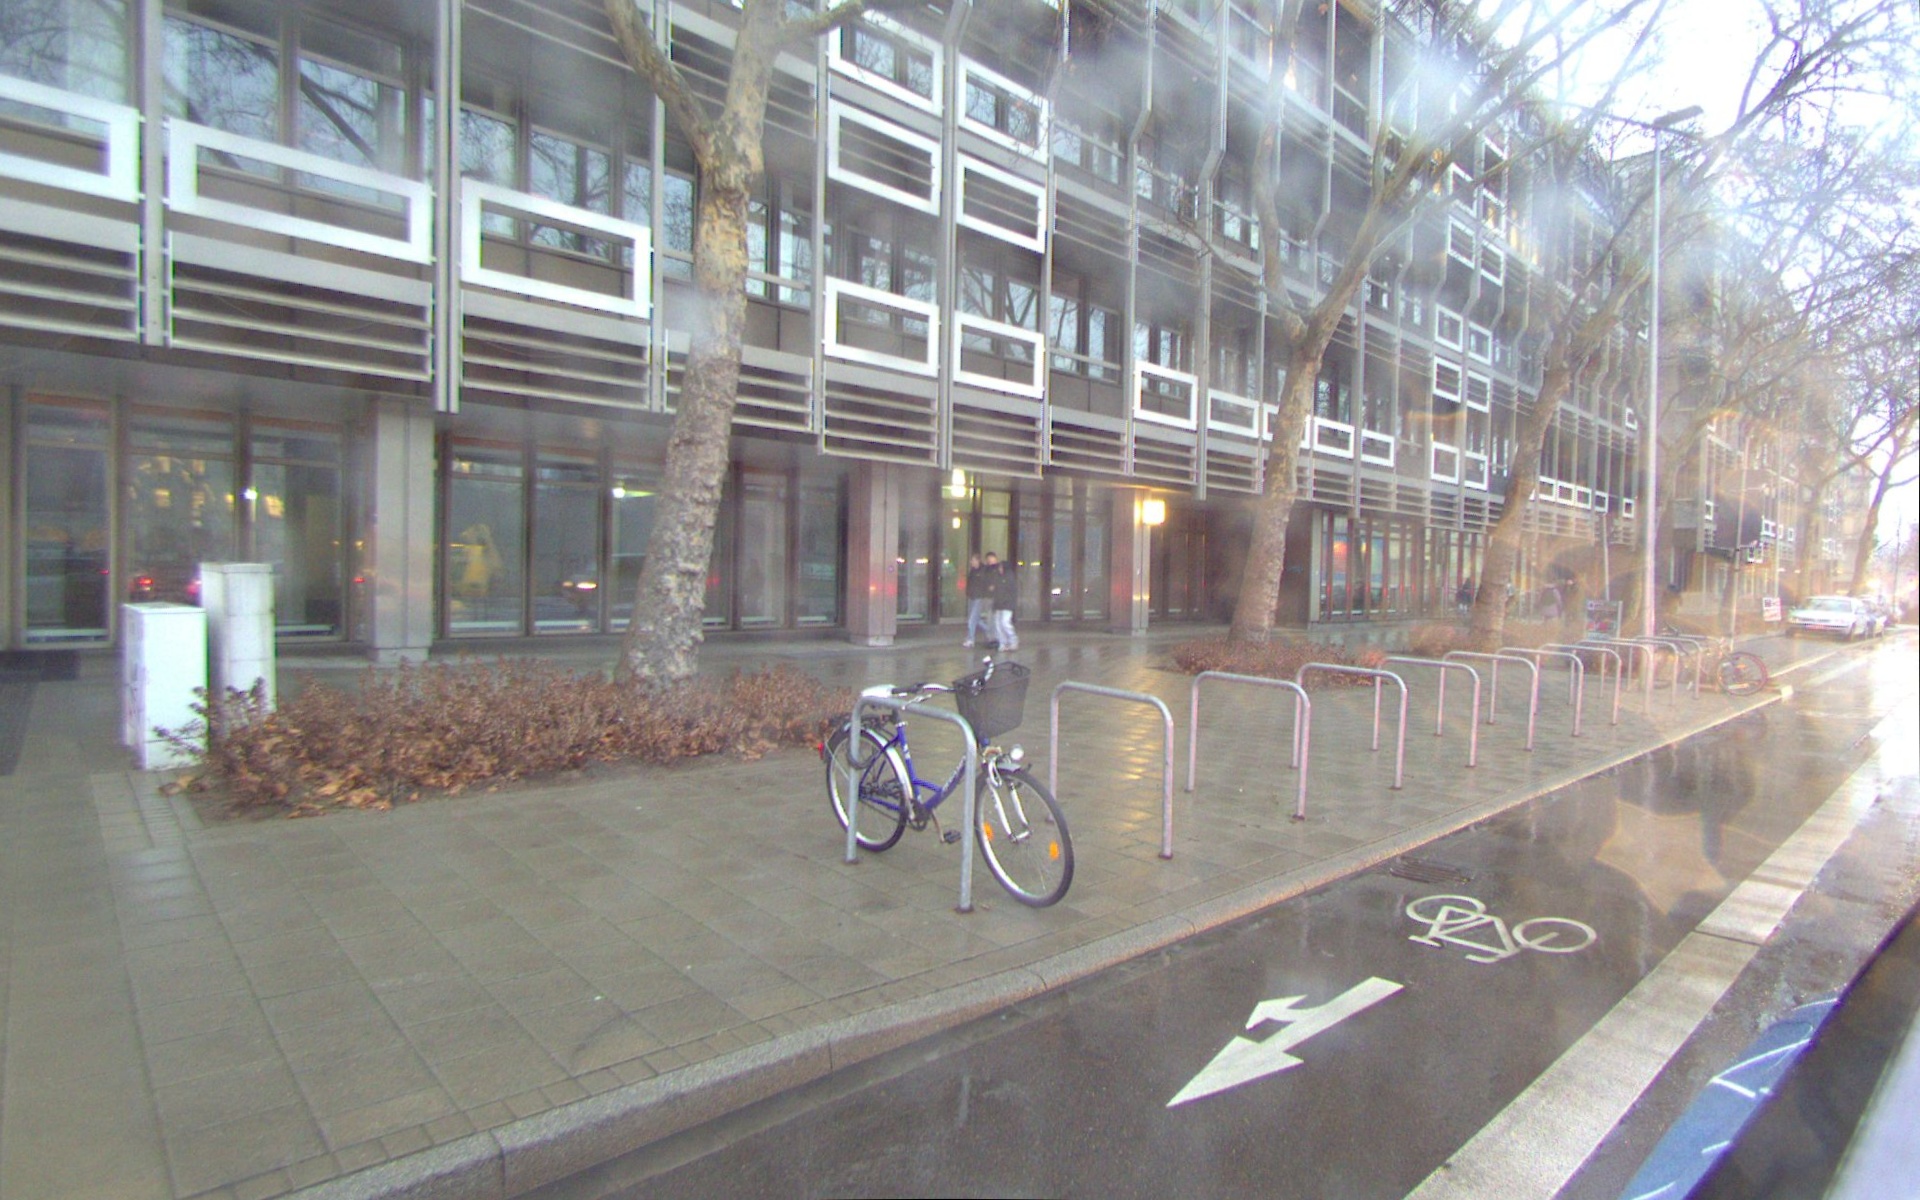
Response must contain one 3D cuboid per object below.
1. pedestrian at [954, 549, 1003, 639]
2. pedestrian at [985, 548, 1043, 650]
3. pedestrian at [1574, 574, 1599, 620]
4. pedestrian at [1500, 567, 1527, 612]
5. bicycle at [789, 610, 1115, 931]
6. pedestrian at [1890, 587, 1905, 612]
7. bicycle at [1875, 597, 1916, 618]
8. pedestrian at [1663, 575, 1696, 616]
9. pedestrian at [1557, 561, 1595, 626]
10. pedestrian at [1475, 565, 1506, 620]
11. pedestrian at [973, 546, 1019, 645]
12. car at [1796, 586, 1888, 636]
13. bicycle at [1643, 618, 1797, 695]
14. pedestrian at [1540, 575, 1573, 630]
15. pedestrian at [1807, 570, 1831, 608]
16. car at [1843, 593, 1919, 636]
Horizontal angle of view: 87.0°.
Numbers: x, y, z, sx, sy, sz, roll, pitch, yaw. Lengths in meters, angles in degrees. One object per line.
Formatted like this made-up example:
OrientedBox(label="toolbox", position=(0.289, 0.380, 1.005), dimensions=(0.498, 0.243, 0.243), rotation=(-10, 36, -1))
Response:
OrientedBox(label="pedestrian", position=(0.334, -0.113, 18.111), dimensions=(0.733, 1.583, 0.484), rotation=(0, 1, -42))
OrientedBox(label="pedestrian", position=(0.917, -0.028, 17.261), dimensions=(0.858, 1.689, 0.501), rotation=(0, 2, -41))
OrientedBox(label="pedestrian", position=(23.258, -0.123, 37.553), dimensions=(0.639, 1.675, 0.830), rotation=(2, 1, 41))
OrientedBox(label="pedestrian", position=(17.012, -0.321, 31.120), dimensions=(0.492, 1.386, 0.495), rotation=(1, 1, -18))
OrientedBox(label="bicycle", position=(-0.117, 0.695, 4.832), dimensions=(0.428, 1.162, 1.752), rotation=(0, 4, -44))
OrientedBox(label="pedestrian", position=(75.446, -0.049, 81.418), dimensions=(0.758, 2.039, 0.837), rotation=(-1, 0, -42))
OrientedBox(label="bicycle", position=(47.004, 0.355, 50.861), dimensions=(1.518, 1.049, 0.462), rotation=(0, 1, 42))
OrientedBox(label="pedestrian", position=(27.376, -0.176, 38.494), dimensions=(0.824, 1.543, 0.865), rotation=(0, 2, -44))
OrientedBox(label="pedestrian", position=(19.609, -0.226, 32.219), dimensions=(0.723, 2.039, 0.821), rotation=(0, 1, -43))
OrientedBox(label="pedestrian", position=(16.650, -0.246, 31.764), dimensions=(0.767, 1.677, 0.617), rotation=(0, 1, -41))
OrientedBox(label="pedestrian", position=(0.629, -0.084, 17.681), dimensions=(0.701, 1.689, 0.379), rotation=(0, 1, -41))
OrientedBox(label="car", position=(29.424, 0.326, 33.744), dimensions=(3.859, 1.449, 1.609), rotation=(0, 4, -39))
OrientedBox(label="bicycle", position=(11.650, 0.839, 15.560), dimensions=(0.607, 0.986, 1.789), rotation=(0, 3, -45))
OrientedBox(label="pedestrian", position=(17.328, 0.061, 29.402), dimensions=(0.604, 1.563, 0.649), rotation=(0, 1, -40))
OrientedBox(label="pedestrian", position=(47.260, -0.592, 55.676), dimensions=(1.007, 2.039, 0.790), rotation=(0, 1, -41))
OrientedBox(label="car", position=(35.437, 0.525, 38.703), dimensions=(3.930, 1.504, 1.997), rotation=(-1, 1, -41))
